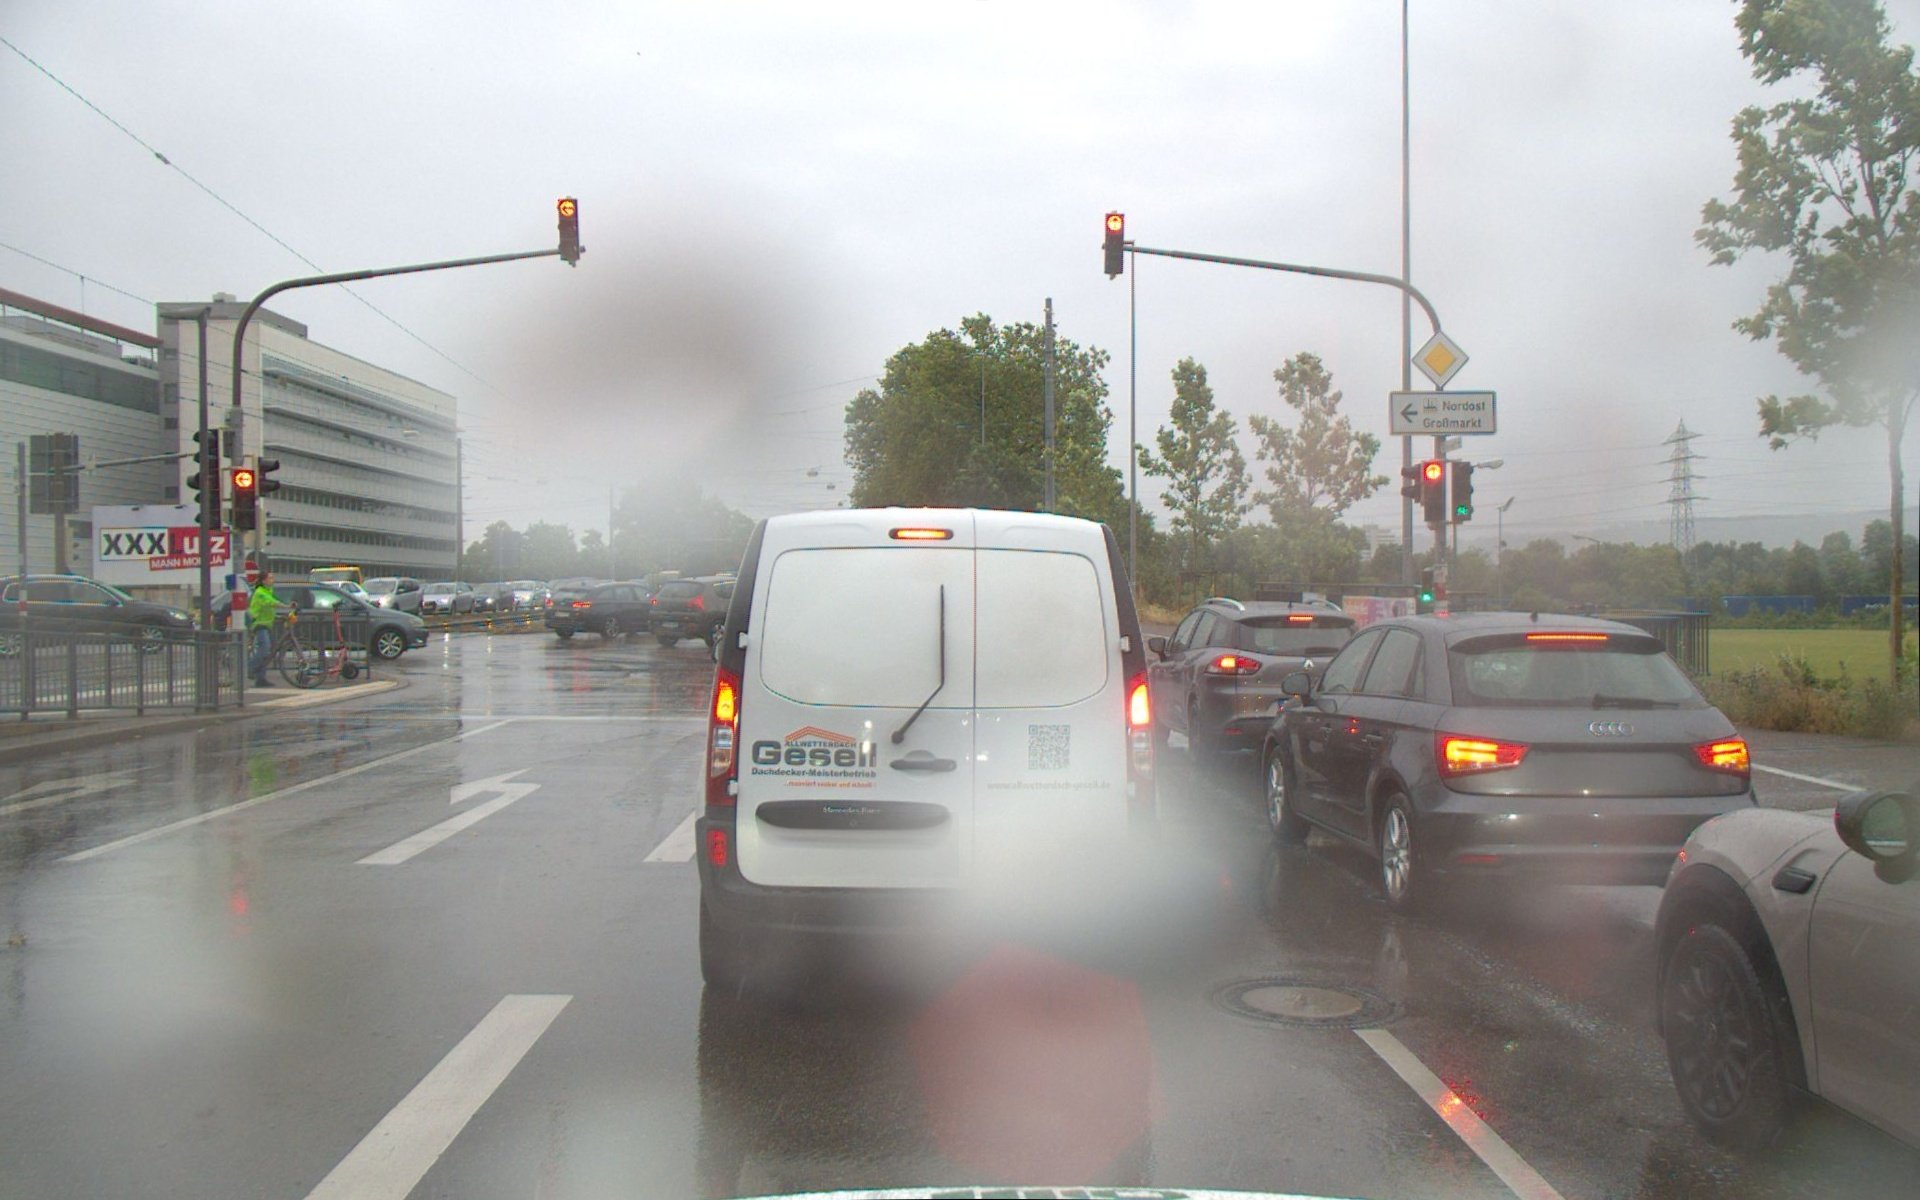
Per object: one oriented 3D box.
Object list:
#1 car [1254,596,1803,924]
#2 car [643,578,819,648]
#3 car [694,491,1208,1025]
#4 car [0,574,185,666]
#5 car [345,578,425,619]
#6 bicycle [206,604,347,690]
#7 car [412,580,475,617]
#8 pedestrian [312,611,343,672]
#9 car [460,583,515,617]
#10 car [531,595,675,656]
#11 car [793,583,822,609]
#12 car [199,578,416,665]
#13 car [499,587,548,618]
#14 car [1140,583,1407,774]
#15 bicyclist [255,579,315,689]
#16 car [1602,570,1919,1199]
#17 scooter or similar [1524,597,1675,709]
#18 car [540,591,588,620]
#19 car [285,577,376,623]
[{"bbox_3d":[2.787,0.720,8.968,1.565,1.390,3.628,-1,-1,-3],"label":"car"},{"bbox_3d":[-5.364,0.323,38.998,3.889,1.422,1.513,4,0,-41],"label":"car"},{"bbox_3d":[-0.171,0.503,7.668,1.719,1.780,4.166,1,1,-4],"label":"car"},{"bbox_3d":[-18.516,0.409,34.958,3.740,1.703,1.692,4,0,-28],"label":"car"},{"bbox_3d":[-21.761,-0.034,62.745,1.676,1.451,3.808,2,-1,-1],"label":"car"},{"bbox_3d":[-9.576,0.652,23.217,1.745,1.157,0.512,1,0,-43],"label":"bicycle"},{"bbox_3d":[-21.816,-0.056,69.980,1.528,1.451,3.568,2,-1,-1],"label":"car"},{"bbox_3d":[-9.694,0.631,25.363,0.309,0.913,0.380,2,0,-3],"label":"pedestrian"},{"bbox_3d":[-21.976,0.007,77.058,1.528,1.451,3.568,2,-1,-1],"label":"car"},{"bbox_3d":[-9.382,0.694,43.598,1.619,1.422,3.439,4,0,37],"label":"car"},{"bbox_3d":[-10.914,-0.253,118.731,1.909,1.691,4.460,2,-1,-4],"label":"car"},{"bbox_3d":[-12.600,0.419,31.971,3.739,1.422,1.523,4,0,-27],"label":"car"},{"bbox_3d":[-22.017,0.123,83.544,1.528,1.451,3.568,2,-1,-1],"label":"car"},{"bbox_3d":[2.799,0.644,15.582,1.650,1.534,3.919,1,0,-2],"label":"car"},{"bbox_3d":[-9.504,0.479,23.279,0.600,1.517,0.591,2,0,-41],"label":"bicyclist"},{"bbox_3d":[2.921,0.744,3.299,1.668,1.534,3.879,3,0,-1],"label":"car"},{"bbox_3d":[7.640,0.591,19.936,0.676,1.232,3.020,0,0,0],"label":"scooter or similar"},{"bbox_3d":[-21.739,0.317,90.887,1.676,1.451,3.808,2,-1,-1],"label":"car"},{"bbox_3d":[-21.583,0.031,56.842,1.676,1.451,3.808,2,-1,-1],"label":"car"}]
